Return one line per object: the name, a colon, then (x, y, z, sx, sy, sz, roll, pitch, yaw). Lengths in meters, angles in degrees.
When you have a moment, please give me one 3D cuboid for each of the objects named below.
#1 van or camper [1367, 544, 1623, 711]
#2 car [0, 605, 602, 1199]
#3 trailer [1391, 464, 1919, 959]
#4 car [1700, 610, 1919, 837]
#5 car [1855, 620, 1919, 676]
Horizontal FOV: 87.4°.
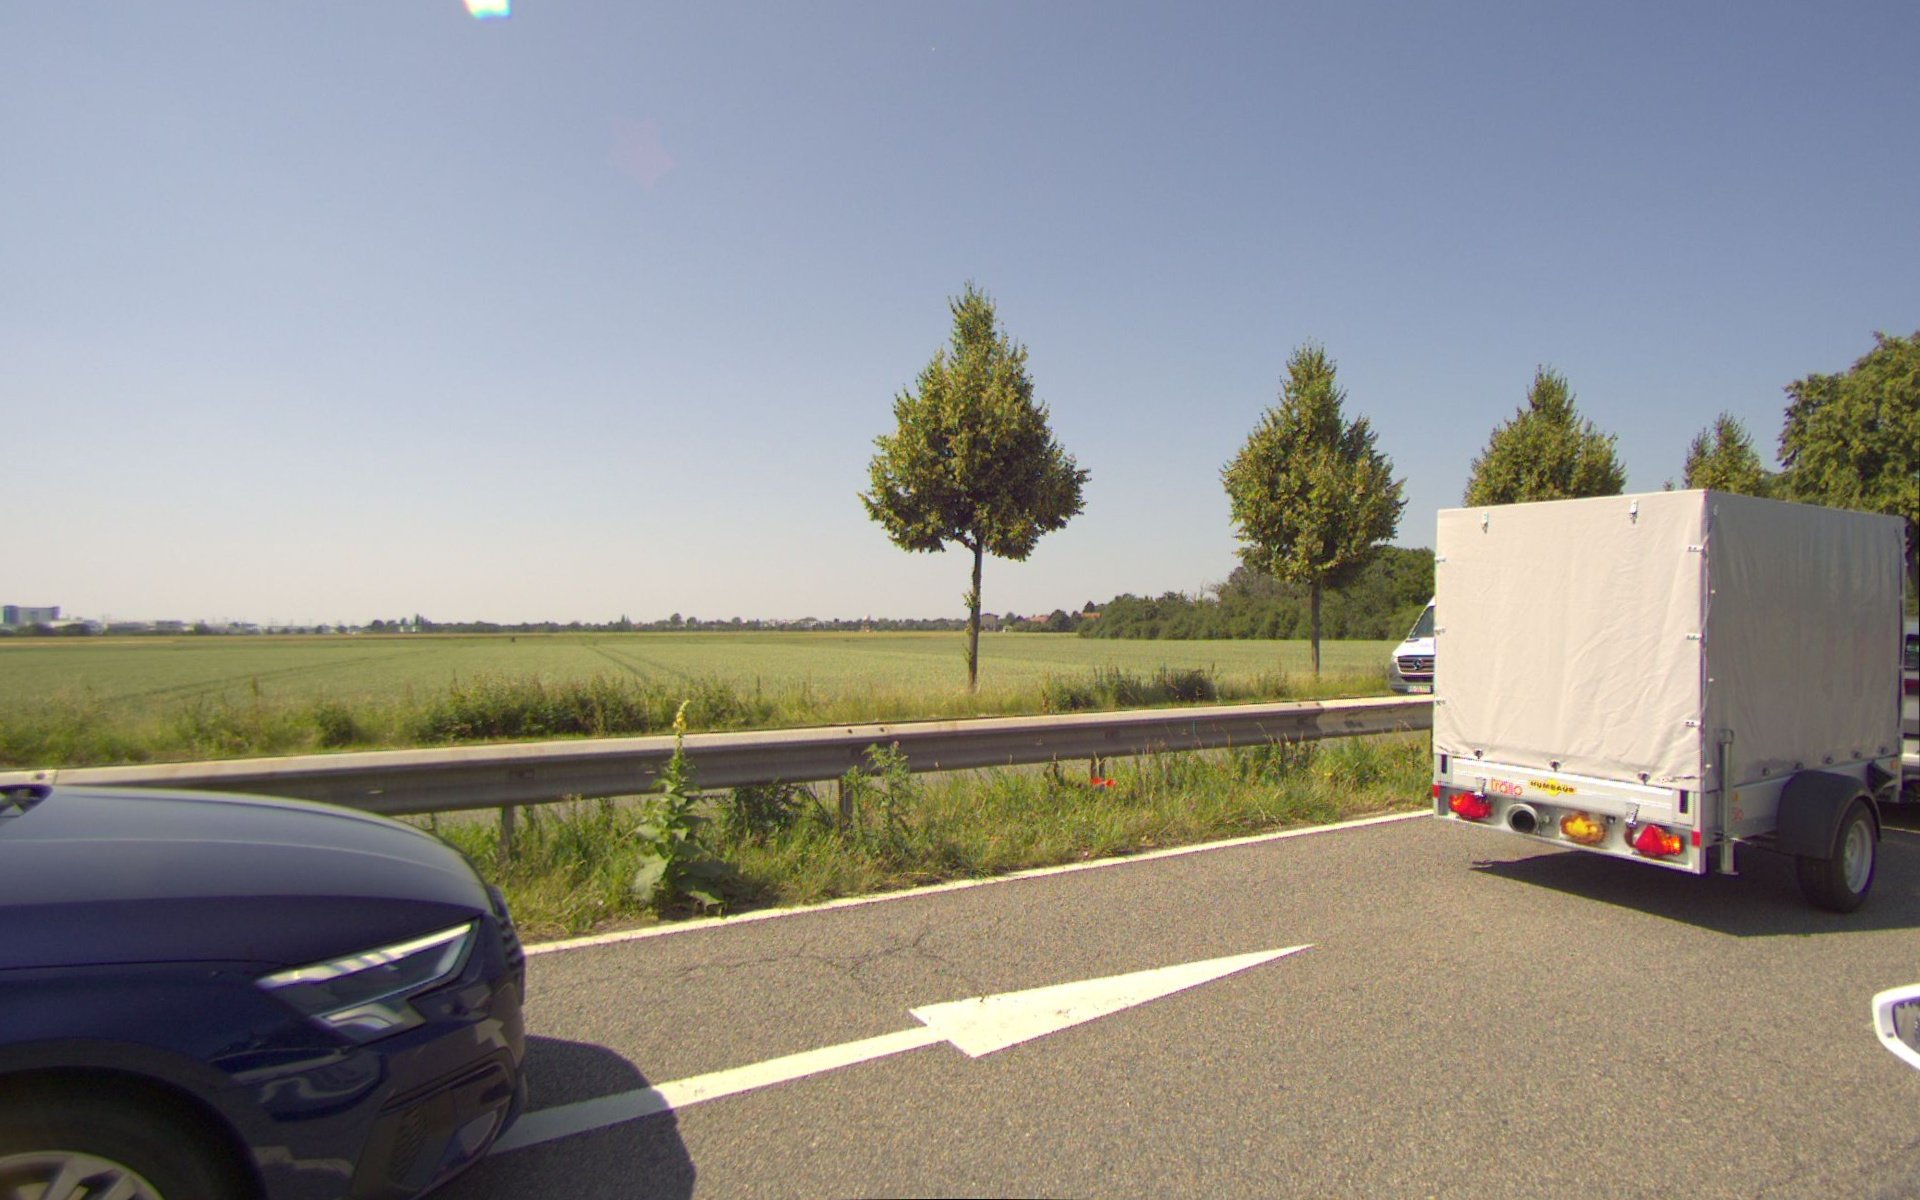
van or camper: (11.437, 0.573, 21.361, 5.631, 3.140, 2.251, 1, -1, -32)
car: (-2.906, 0.751, 1.859, 3.984, 1.484, 1.708, 1, 0, -31)
trailer: (4.624, 0.524, 6.169, 4.125, 2.202, 1.493, 1, 0, -31)
car: (8.085, 0.850, 8.222, 4.312, 1.523, 1.737, 1, -1, -31)
car: (33.708, 1.633, 35.496, 4.644, 1.880, 1.848, 1, -2, -32)
